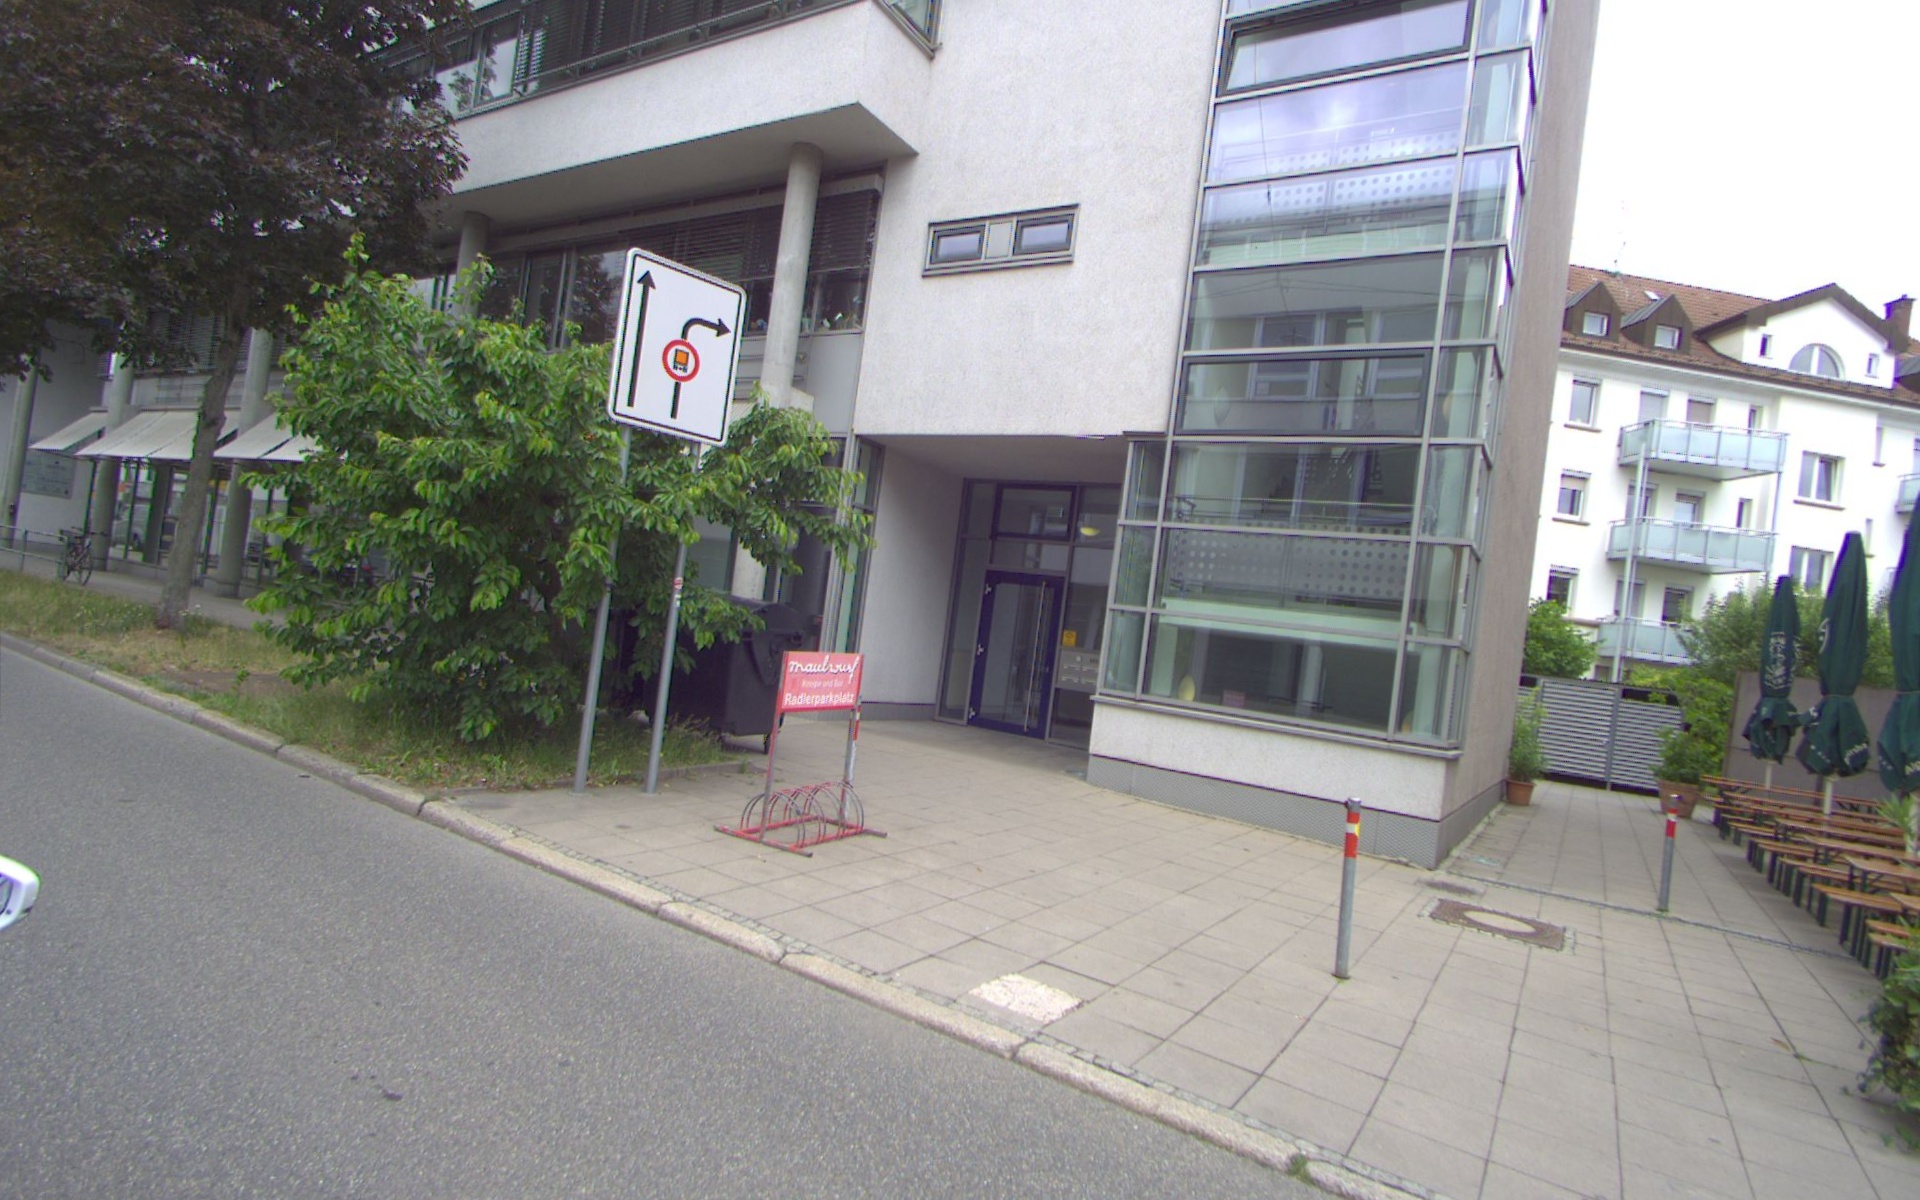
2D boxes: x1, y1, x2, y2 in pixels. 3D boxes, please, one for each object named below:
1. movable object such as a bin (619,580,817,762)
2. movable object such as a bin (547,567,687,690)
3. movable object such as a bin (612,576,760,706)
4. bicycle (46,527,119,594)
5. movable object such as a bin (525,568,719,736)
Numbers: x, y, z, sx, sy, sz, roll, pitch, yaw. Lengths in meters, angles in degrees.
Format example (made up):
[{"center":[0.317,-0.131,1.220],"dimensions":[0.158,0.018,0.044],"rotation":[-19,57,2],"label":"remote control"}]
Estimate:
[{"center":[-2.306,0.657,9.626],"dimensions":[1.311,1.484,1.099],"rotation":[7,0,31],"label":"movable object such as a bin"},{"center":[-4.689,0.399,13.767],"dimensions":[1.311,1.484,1.099],"rotation":[7,0,31],"label":"movable object such as a bin"},{"center":[-3.554,0.530,13.070],"dimensions":[1.311,1.484,1.123],"rotation":[7,0,31],"label":"movable object such as a bin"},{"center":[-17.014,-0.780,19.495],"dimensions":[1.994,1.099,0.361],"rotation":[7,-2,31],"label":"bicycle"},{"center":[-3.458,0.520,10.315],"dimensions":[1.389,1.484,1.129],"rotation":[7,0,31],"label":"movable object such as a bin"}]
